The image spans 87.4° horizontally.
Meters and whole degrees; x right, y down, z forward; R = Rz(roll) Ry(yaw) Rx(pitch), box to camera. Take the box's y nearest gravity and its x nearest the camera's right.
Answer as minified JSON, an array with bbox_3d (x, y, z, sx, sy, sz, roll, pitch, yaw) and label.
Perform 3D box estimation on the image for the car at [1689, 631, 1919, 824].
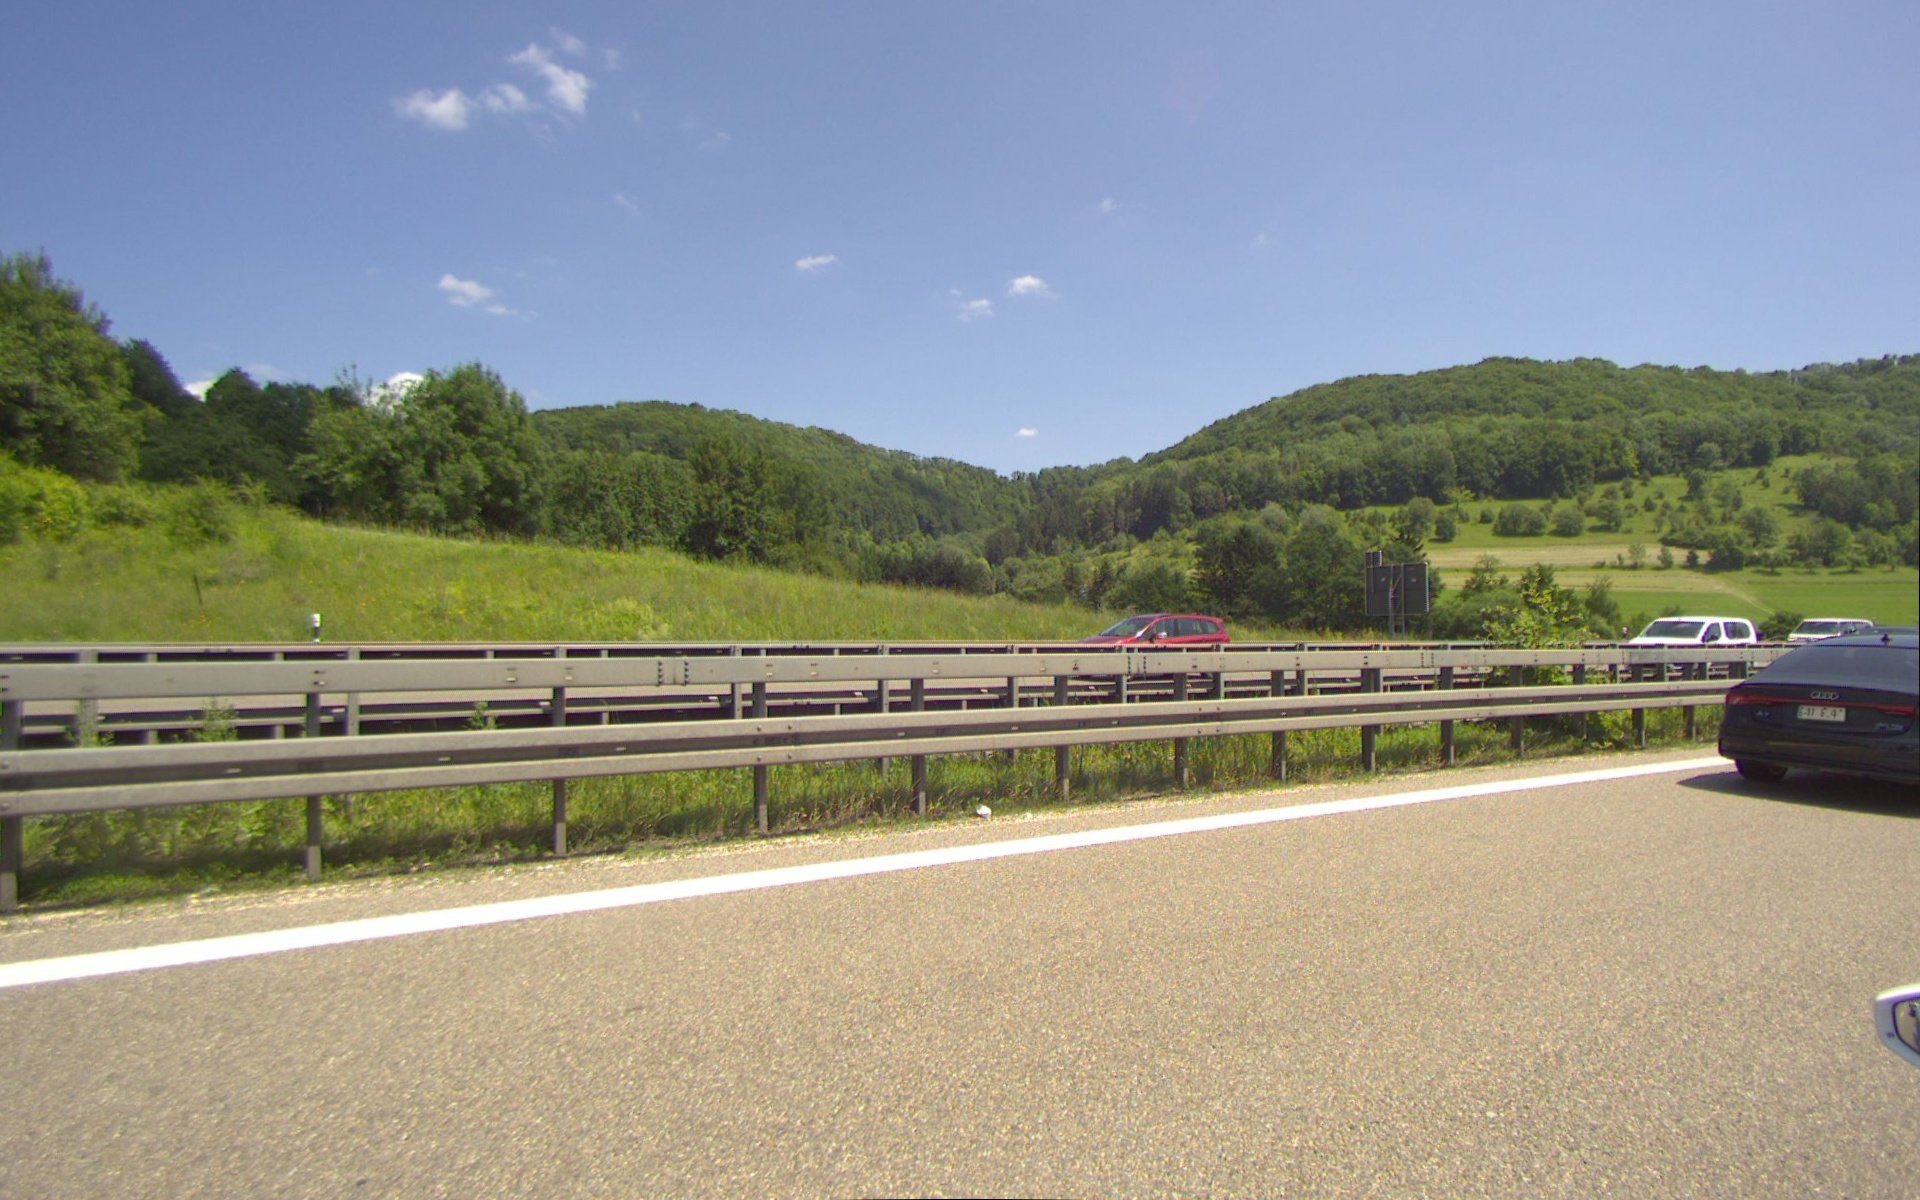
[{"bbox_3d":[8.948,1.016,9.297,4.912,1.409,1.792,1,-1,-31],"label":"car"}]

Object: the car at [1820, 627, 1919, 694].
[{"bbox_3d":[26.799,1.698,29.078,3.888,1.785,1.747,1,-1,-30],"label":"car"}]

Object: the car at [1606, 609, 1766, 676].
[{"bbox_3d":[21.794,1.246,30.108,5.165,1.863,1.984,1,-1,-30],"label":"car"}]

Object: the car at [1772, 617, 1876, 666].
[{"bbox_3d":[37.481,1.775,43.566,4.606,1.967,2.050,1,-1,-30],"label":"car"}]

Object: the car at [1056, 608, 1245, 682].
[{"bbox_3d":[4.736,1.074,24.780,4.492,1.666,1.816,1,-1,-30],"label":"car"}]
